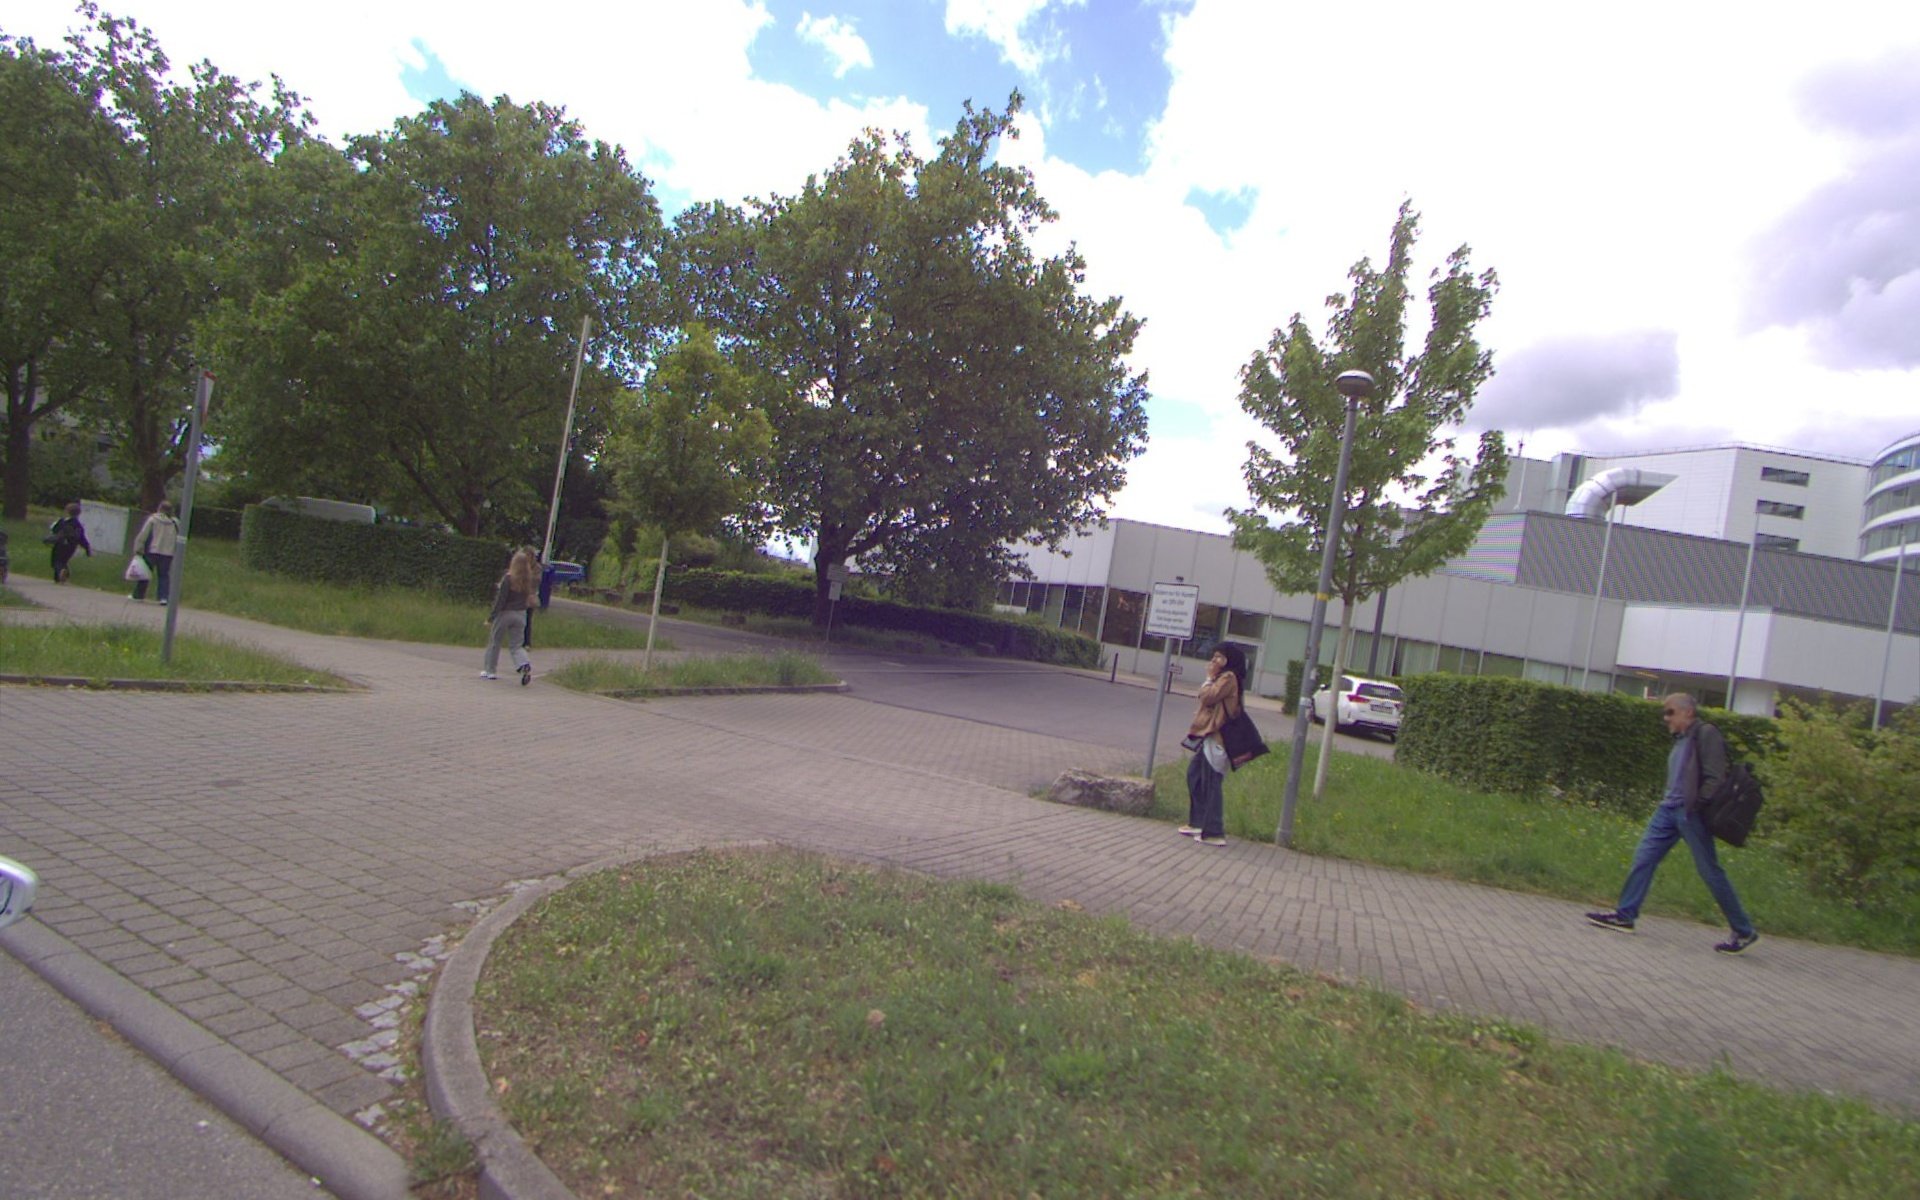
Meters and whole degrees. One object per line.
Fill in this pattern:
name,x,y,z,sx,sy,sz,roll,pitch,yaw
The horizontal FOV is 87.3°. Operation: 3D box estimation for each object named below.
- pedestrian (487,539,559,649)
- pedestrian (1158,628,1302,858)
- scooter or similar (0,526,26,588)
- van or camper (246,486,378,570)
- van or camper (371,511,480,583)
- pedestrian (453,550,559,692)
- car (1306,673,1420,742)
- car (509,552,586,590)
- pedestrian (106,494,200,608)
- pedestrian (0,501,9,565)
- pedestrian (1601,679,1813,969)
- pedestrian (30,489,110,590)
pedestrian,-7.390,-0.096,17.016,0.695,1.731,0.654,7,-1,35
pedestrian,2.185,1.135,8.237,0.880,1.688,0.653,7,-1,10
scooter or similar,-17.172,-0.803,17.798,0.928,1.035,0.581,7,-1,29
van or camper,-28.160,-3.062,43.917,4.435,2.830,2.099,9,-2,-31
van or camper,-26.646,-2.608,50.351,4.426,2.830,2.103,9,-2,-25
pedestrian,-5.692,0.256,12.624,0.918,1.639,0.687,7,-1,39
car,10.521,2.758,26.580,1.677,1.406,4.125,8,-2,8
car,-24.218,-1.672,59.073,3.954,1.592,1.754,9,-2,-27
pedestrian,-14.117,-0.847,17.602,0.863,1.813,0.833,7,-1,29
pedestrian,-17.863,-1.111,18.202,0.723,1.485,0.620,7,-1,29
pedestrian,5.111,1.478,6.958,0.870,1.742,0.763,7,-1,25
pedestrian,-17.420,-1.174,19.692,0.863,1.813,0.741,7,-1,29
